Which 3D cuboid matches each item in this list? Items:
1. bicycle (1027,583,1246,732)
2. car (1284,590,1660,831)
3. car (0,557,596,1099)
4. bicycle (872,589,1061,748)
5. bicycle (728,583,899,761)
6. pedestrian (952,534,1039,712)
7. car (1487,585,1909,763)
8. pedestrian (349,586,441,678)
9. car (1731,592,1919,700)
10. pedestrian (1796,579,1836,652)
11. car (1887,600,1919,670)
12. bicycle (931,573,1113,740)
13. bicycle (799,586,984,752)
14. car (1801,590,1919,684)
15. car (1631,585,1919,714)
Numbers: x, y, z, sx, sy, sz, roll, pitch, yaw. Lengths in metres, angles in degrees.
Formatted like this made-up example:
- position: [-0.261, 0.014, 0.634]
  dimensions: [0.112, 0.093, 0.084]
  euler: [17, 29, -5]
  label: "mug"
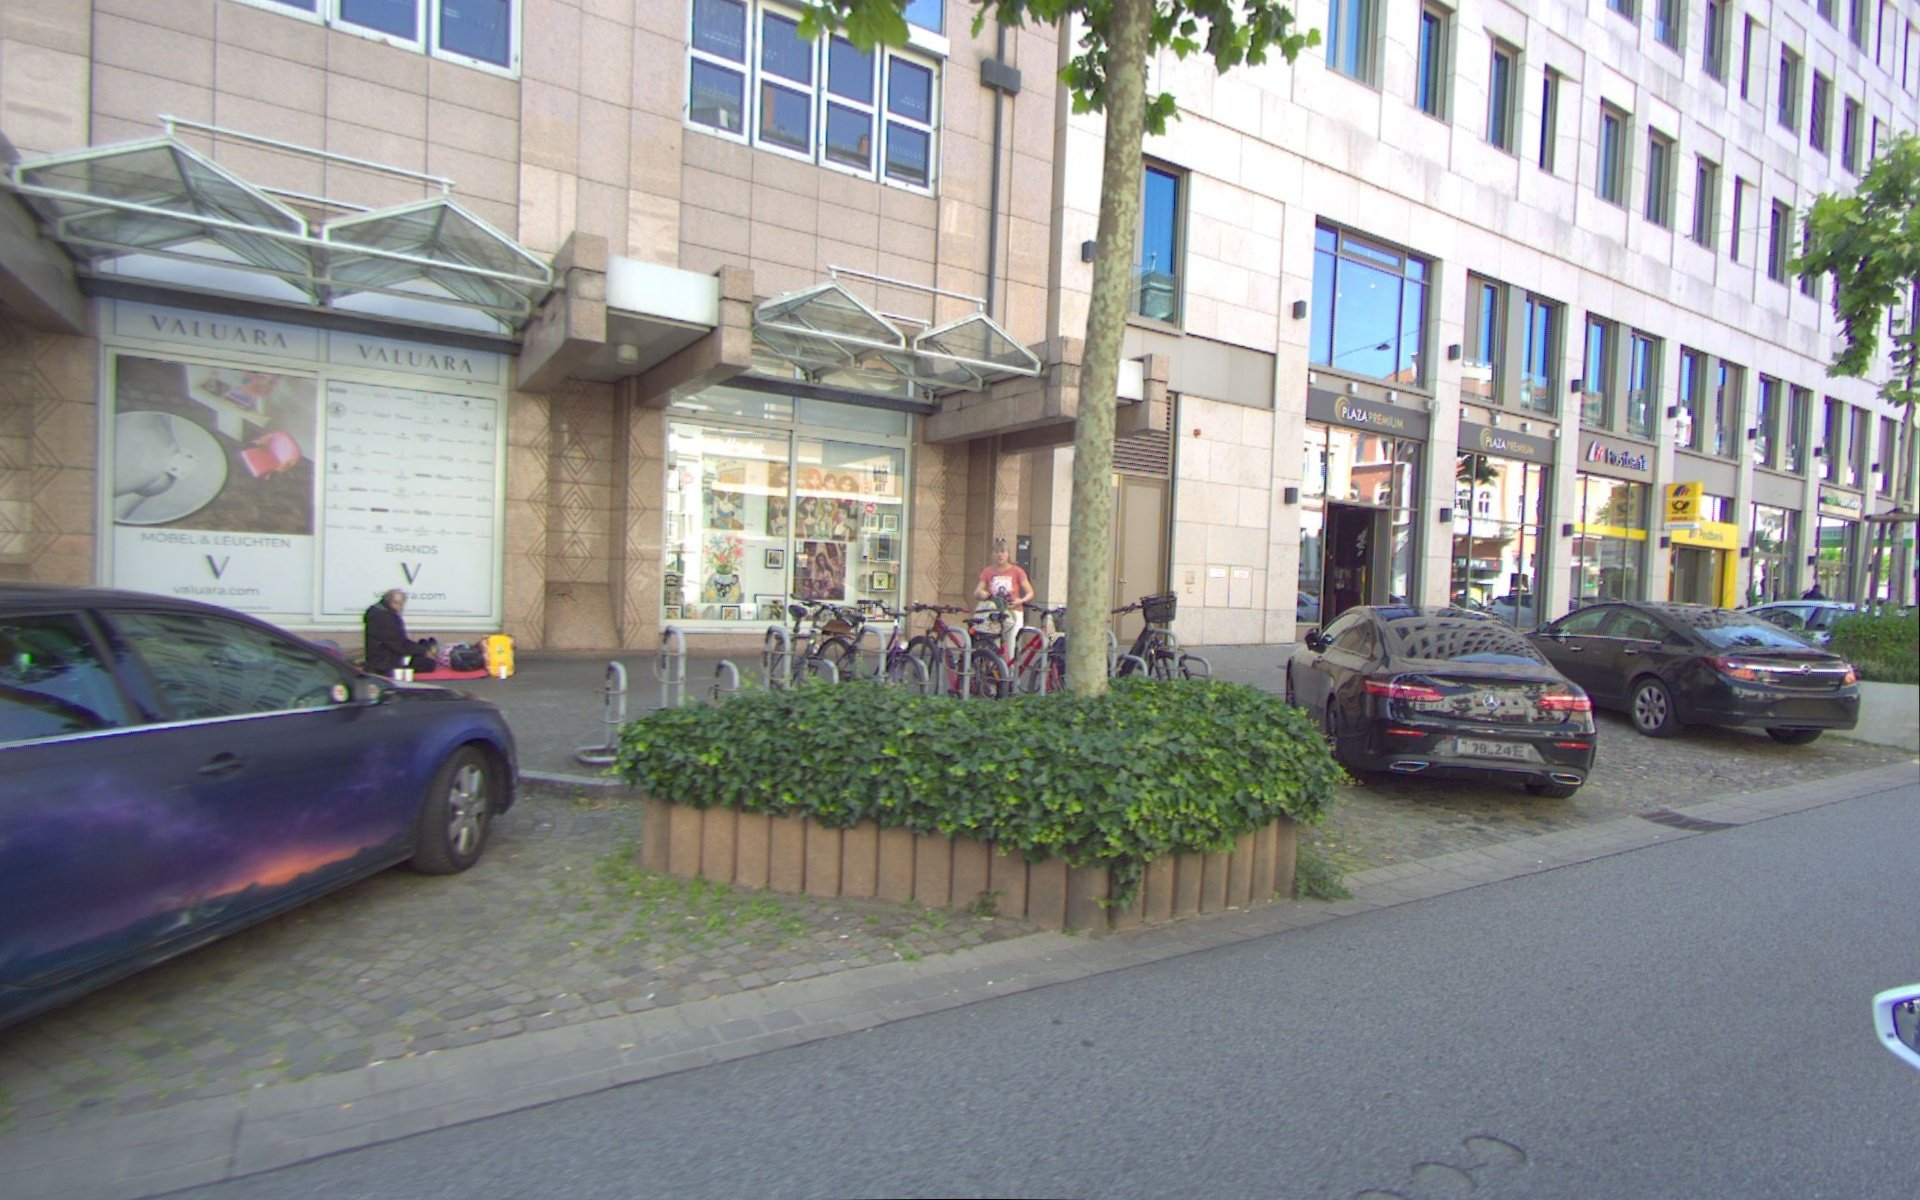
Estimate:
- position: [1.748, 0.520, 10.208]
  dimensions: [2.042, 1.236, 0.756]
  euler: [6, 4, 43]
  label: "bicycle"
- position: [4.288, 0.734, 9.329]
  dimensions: [1.868, 1.427, 4.652]
  euler: [3, 3, 12]
  label: "car"
- position: [-3.434, 0.596, 3.713]
  dimensions: [1.845, 1.442, 4.799]
  euler: [2, 3, 8]
  label: "car"
- position: [-0.006, 0.549, 9.020]
  dimensions: [0.460, 1.145, 2.048]
  euler: [1, 4, -38]
  label: "bicycle"
- position: [-1.258, 0.509, 8.190]
  dimensions: [0.611, 1.145, 2.054]
  euler: [2, 3, -30]
  label: "bicycle"
- position: [0.352, 0.209, 9.908]
  dimensions: [0.558, 1.679, 0.634]
  euler: [2, 1, 37]
  label: "pedestrian"
- position: [8.567, 0.719, 12.290]
  dimensions: [1.797, 1.534, 4.353]
  euler: [3, 3, -1]
  label: "car"
- position: [-5.628, 0.308, 10.008]
  dimensions: [0.765, 0.820, 0.562]
  euler: [1, 6, -32]
  label: "pedestrian"
- position: [16.185, 0.814, 17.550]
  dimensions: [1.753, 1.510, 3.987]
  euler: [3, 4, -14]
  label: "car"
- position: [24.290, 0.442, 28.495]
  dimensions: [0.693, 2.041, 0.620]
  euler: [1, 1, -31]
  label: "pedestrian"
- position: [21.971, 0.969, 20.966]
  dimensions: [1.637, 1.479, 4.000]
  euler: [5, 5, 5]
  label: "car"
- position: [0.522, 0.463, 9.467]
  dimensions: [0.364, 1.306, 2.048]
  euler: [1, 4, -38]
  label: "bicycle"
- position: [-0.654, 0.525, 8.654]
  dimensions: [0.460, 1.145, 2.048]
  euler: [1, 4, -38]
  label: "bicycle"
- position: [19.067, 0.825, 19.528]
  dimensions: [1.668, 1.589, 3.994]
  euler: [4, 5, -7]
  label: "car"
- position: [13.587, 0.719, 16.378]
  dimensions: [1.700, 1.520, 3.960]
  euler: [1, 5, -35]
  label: "car"
